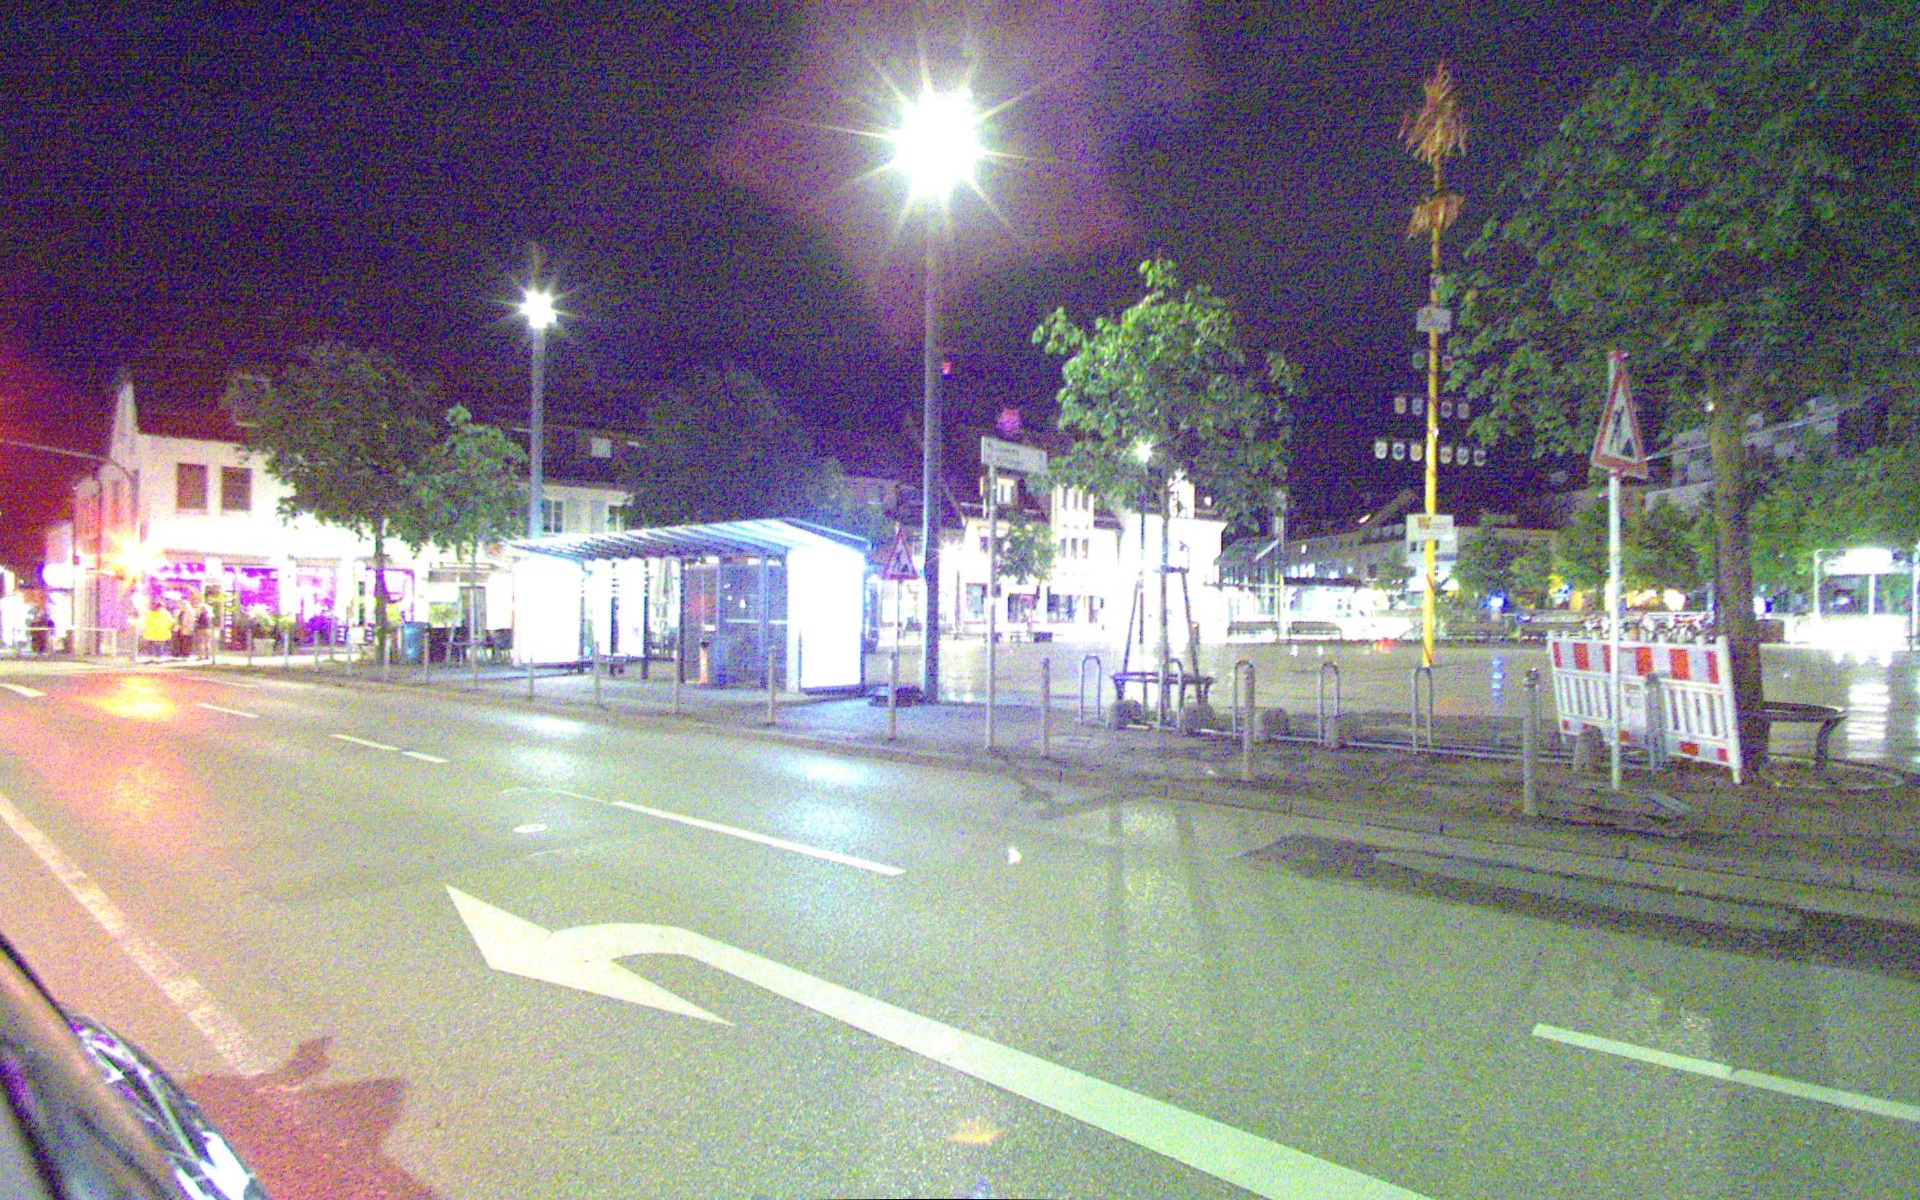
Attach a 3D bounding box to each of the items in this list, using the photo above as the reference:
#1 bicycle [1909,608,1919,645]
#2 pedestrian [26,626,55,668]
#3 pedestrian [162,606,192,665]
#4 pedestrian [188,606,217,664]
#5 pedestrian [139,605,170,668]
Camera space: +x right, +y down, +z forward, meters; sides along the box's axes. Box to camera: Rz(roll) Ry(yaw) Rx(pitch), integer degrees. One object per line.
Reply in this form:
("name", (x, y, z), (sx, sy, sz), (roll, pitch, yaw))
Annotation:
("bicycle", (26.406, 0.701, 26.975), (1.525, 0.965, 0.476), (-1, 0, 25))
("pedestrian", (-34.071, 1.733, 37.496), (0.829, 1.507, 0.639), (-1, -2, 40))
("pedestrian", (-22.666, 1.016, 29.307), (0.573, 1.694, 0.649), (-1, 0, -28))
("pedestrian", (-22.132, 1.012, 29.587), (0.573, 1.640, 0.649), (-1, 0, -27))
("pedestrian", (-22.040, 0.985, 27.709), (0.531, 1.694, 0.649), (-1, 0, -27))
